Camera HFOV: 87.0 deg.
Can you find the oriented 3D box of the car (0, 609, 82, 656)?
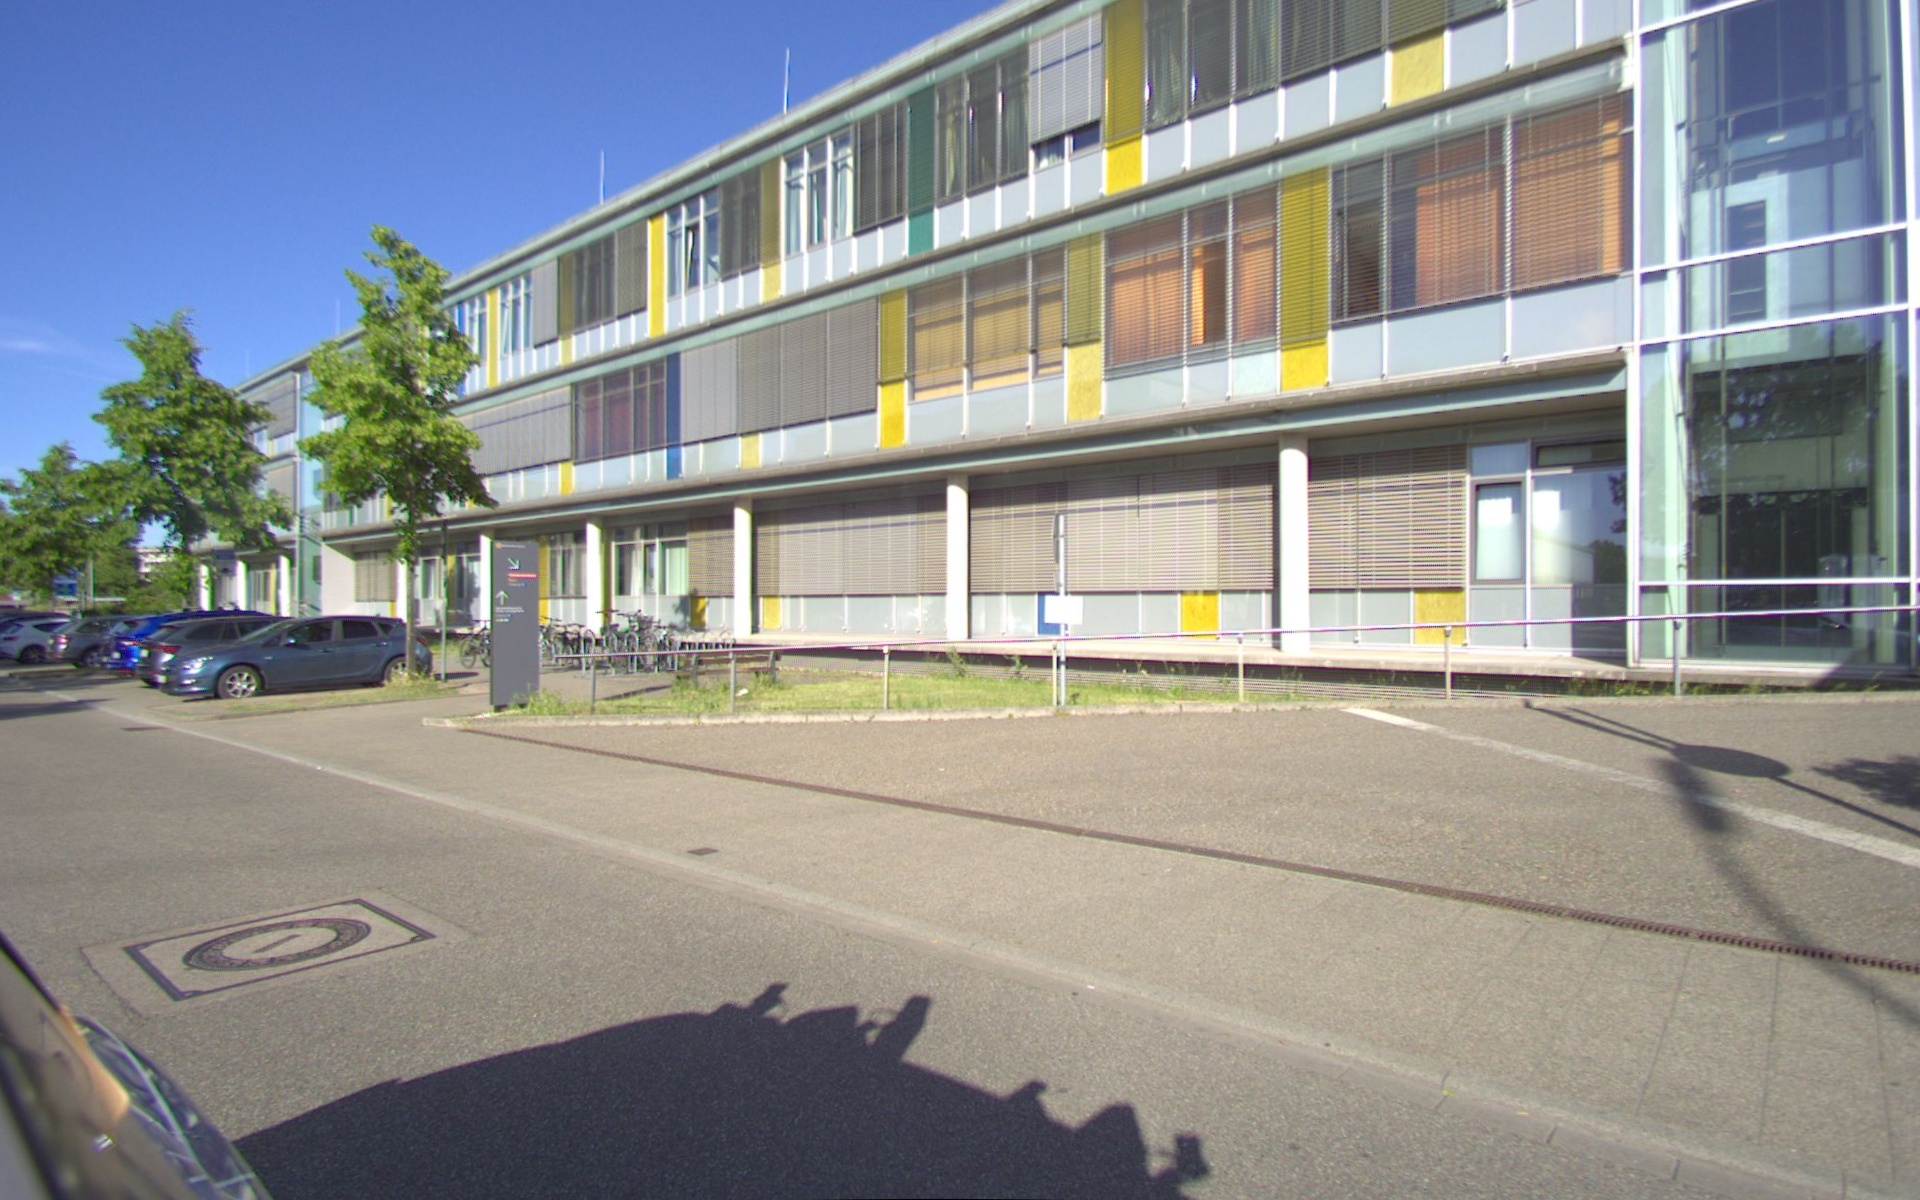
[{"bbox_3d":[-40.957,1.431,43.754,1.999,1.877,4.303,-1,1,41],"label":"car"}]

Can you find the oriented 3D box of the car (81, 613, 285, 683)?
[{"bbox_3d":[-19.618,1.144,25.700,1.773,1.499,3.712,0,1,32],"label":"car"}]

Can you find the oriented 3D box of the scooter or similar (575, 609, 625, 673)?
[{"bbox_3d":[-7.510,0.842,21.101,1.205,1.283,0.465,-1,-1,42],"label":"scooter or similar"}]

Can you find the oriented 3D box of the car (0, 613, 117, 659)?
[{"bbox_3d":[-35.827,1.388,39.364,1.996,1.602,4.309,-1,1,36],"label":"car"}]

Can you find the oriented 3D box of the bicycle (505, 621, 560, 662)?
[{"bbox_3d":[-12.018,1.158,28.450,1.854,1.104,0.640,-1,-2,40],"label":"bicycle"}]

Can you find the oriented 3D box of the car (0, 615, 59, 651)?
[{"bbox_3d":[-47.207,1.631,49.722,4.298,1.659,2.001,-2,1,-45],"label":"car"}]

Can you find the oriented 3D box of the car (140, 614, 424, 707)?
[{"bbox_3d":[-12.519,1.036,18.893,1.752,1.478,4.090,-1,0,39],"label":"car"}]

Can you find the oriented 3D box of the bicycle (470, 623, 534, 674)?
[{"bbox_3d":[-10.671,1.113,23.549,1.778,1.151,0.629,-1,-2,40],"label":"bicycle"}]

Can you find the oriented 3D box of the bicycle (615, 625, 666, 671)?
[{"bbox_3d":[-7.404,1.090,23.414,1.394,1.030,0.349,-1,-2,36],"label":"bicycle"}]

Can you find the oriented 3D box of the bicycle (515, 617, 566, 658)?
[{"bbox_3d":[-12.733,1.127,30.708,1.854,1.208,0.640,-1,-2,40],"label":"bicycle"}]

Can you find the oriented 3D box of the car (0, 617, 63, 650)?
[{"bbox_3d":[-45.263,1.611,47.758,4.298,1.471,2.001,-2,1,-45],"label":"car"}]

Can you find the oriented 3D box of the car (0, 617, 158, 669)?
[{"bbox_3d":[-29.222,1.380,33.365,1.821,1.433,4.051,0,1,39],"label":"car"}]

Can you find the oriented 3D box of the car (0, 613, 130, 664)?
[{"bbox_3d":[-33.640,1.400,37.341,1.996,1.639,4.309,0,1,36],"label":"car"}]

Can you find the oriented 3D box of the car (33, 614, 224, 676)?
[{"bbox_3d":[-23.772,1.221,29.034,1.821,1.499,3.943,0,1,39],"label":"car"}]

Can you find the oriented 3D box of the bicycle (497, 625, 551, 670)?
[{"bbox_3d":[-10.343,1.116,23.977,1.778,1.023,0.422,-1,-2,40],"label":"bicycle"}]

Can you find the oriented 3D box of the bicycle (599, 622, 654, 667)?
[{"bbox_3d":[-8.749,1.138,26.541,1.854,1.144,0.443,-1,-2,40],"label":"bicycle"}]

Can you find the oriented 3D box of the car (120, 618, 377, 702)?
[{"bbox_3d":[-14.316,1.130,20.533,1.729,1.448,3.949,-1,0,38],"label":"car"}]

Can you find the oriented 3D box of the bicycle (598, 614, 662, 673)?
[{"bbox_3d":[-7.192,0.954,21.993,1.647,1.056,0.349,-11,-8,35],"label":"bicycle"}]

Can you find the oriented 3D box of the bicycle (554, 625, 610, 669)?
[{"bbox_3d":[-9.144,1.121,24.466,1.778,1.023,0.443,-1,-2,40],"label":"bicycle"}]

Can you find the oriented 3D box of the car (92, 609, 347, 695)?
[{"bbox_3d":[-16.206,1.060,22.330,1.958,1.664,4.180,-1,-1,38],"label":"car"}]

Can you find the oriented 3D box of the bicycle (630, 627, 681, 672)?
[{"bbox_3d":[-7.153,1.151,23.750,1.394,1.030,0.349,-1,-2,36],"label":"bicycle"}]

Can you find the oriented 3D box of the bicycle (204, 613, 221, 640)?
[{"bbox_3d":[-33.715,1.180,45.657,0.455,1.104,1.517,-1,3,-30],"label":"bicycle"}]
